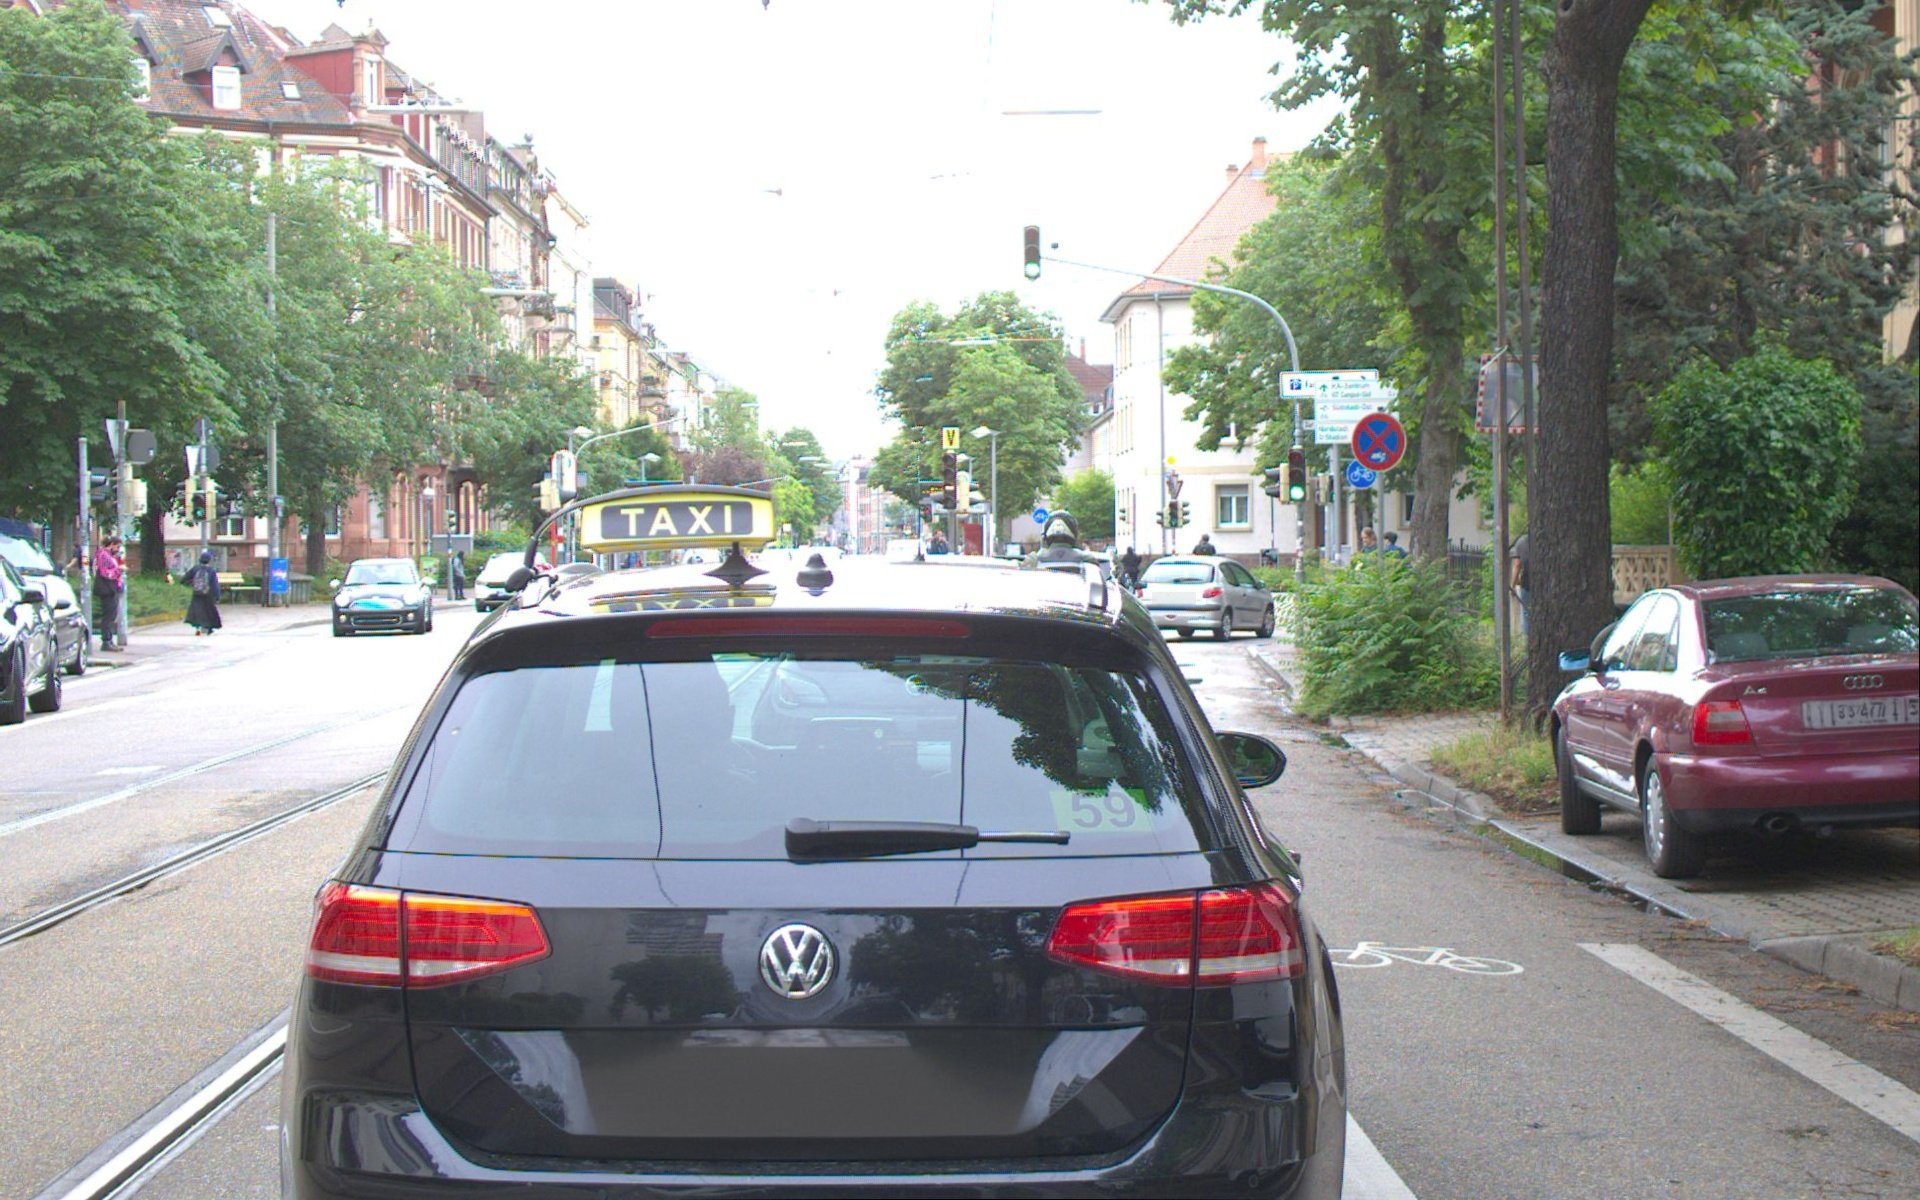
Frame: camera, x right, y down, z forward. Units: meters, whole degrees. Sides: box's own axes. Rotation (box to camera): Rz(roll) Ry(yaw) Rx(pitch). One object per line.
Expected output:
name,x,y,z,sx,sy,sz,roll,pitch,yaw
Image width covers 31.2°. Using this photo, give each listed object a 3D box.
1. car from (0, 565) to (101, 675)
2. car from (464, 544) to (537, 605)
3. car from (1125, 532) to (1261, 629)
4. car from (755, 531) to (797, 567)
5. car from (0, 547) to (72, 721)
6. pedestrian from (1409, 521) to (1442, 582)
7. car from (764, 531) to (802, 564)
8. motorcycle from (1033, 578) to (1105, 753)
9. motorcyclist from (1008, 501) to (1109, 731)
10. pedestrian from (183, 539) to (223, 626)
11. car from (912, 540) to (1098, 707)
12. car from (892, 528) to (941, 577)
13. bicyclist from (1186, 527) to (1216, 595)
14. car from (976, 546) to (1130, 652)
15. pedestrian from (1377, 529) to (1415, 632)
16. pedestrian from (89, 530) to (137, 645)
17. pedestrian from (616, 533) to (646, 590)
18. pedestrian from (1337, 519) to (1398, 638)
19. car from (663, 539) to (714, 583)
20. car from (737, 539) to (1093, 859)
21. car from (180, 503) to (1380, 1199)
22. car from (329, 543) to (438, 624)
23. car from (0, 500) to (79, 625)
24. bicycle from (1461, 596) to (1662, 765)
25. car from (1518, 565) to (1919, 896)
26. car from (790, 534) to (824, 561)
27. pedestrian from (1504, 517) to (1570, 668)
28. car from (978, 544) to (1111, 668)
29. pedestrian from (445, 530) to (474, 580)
car,-12.944,0.234,46.746,1.648,1.357,4.130,2,1,-3
car,-11.887,-0.686,89.051,1.698,1.491,3.931,-2,1,-6
car,3.937,-0.335,58.633,1.993,1.572,4.000,1,0,-1
car,-8.363,-2.329,156.372,1.721,1.617,3.864,-1,1,-1
car,-10.073,0.337,34.196,1.882,1.606,4.889,-3,1,-9
pedestrian,11.903,-1.247,87.894,0.608,1.548,0.583,-1,1,-39
car,-8.817,-2.621,171.212,1.721,1.617,3.864,-1,1,-1
motorcycle,0.804,0.464,25.659,0.446,1.231,1.907,-1,1,-1
motorcyclist,0.733,0.109,25.726,0.703,1.686,0.804,-1,1,-1
pedestrian,-14.705,-0.346,66.755,0.589,1.657,0.839,-1,1,-2
car,0.397,0.182,33.819,1.723,1.541,4.000,0,1,-1
car,-1.818,-1.977,143.645,2.033,2.007,4.000,1,0,-1
bicyclist,5.578,-0.899,79.595,0.651,1.563,0.695,-1,1,7
car,1.367,-0.044,49.063,1.892,1.403,3.999,-1,1,6
pedestrian,7.883,-0.353,62.108,0.514,1.824,0.417,-3,1,16
pedestrian,-13.650,-0.206,55.413,0.623,1.836,0.610,-1,1,-3
pedestrian,-8.842,-1.037,92.367,0.714,1.515,0.590,-1,1,1
pedestrian,6.417,-0.339,54.144,0.585,1.824,0.604,-4,1,-37
car,-10.471,-1.518,132.902,1.721,1.617,3.864,-1,1,-1
car,-0.240,0.445,18.666,1.723,1.541,4.000,0,1,-1
car,-0.277,0.594,6.950,1.723,1.541,4.000,0,1,-1
car,-10.724,-0.330,64.146,1.608,1.417,3.487,-2,1,-3
car,-20.044,-0.756,69.177,2.180,2.409,5.377,-1,1,-43
bicycle,4.417,0.571,25.166,0.433,1.194,1.899,0,0,45
car,4.058,0.569,17.678,1.602,1.394,4.227,-2,1,-1
car,-8.427,-2.914,189.538,1.721,1.460,3.864,-1,1,-1
pedestrian,6.976,-0.093,41.576,0.632,1.808,0.726,-1,1,-3
car,1.071,0.057,45.018,1.606,1.550,3.578,1,0,-1
pedestrian,-15.474,-1.390,106.222,0.589,1.515,0.647,0,1,35
